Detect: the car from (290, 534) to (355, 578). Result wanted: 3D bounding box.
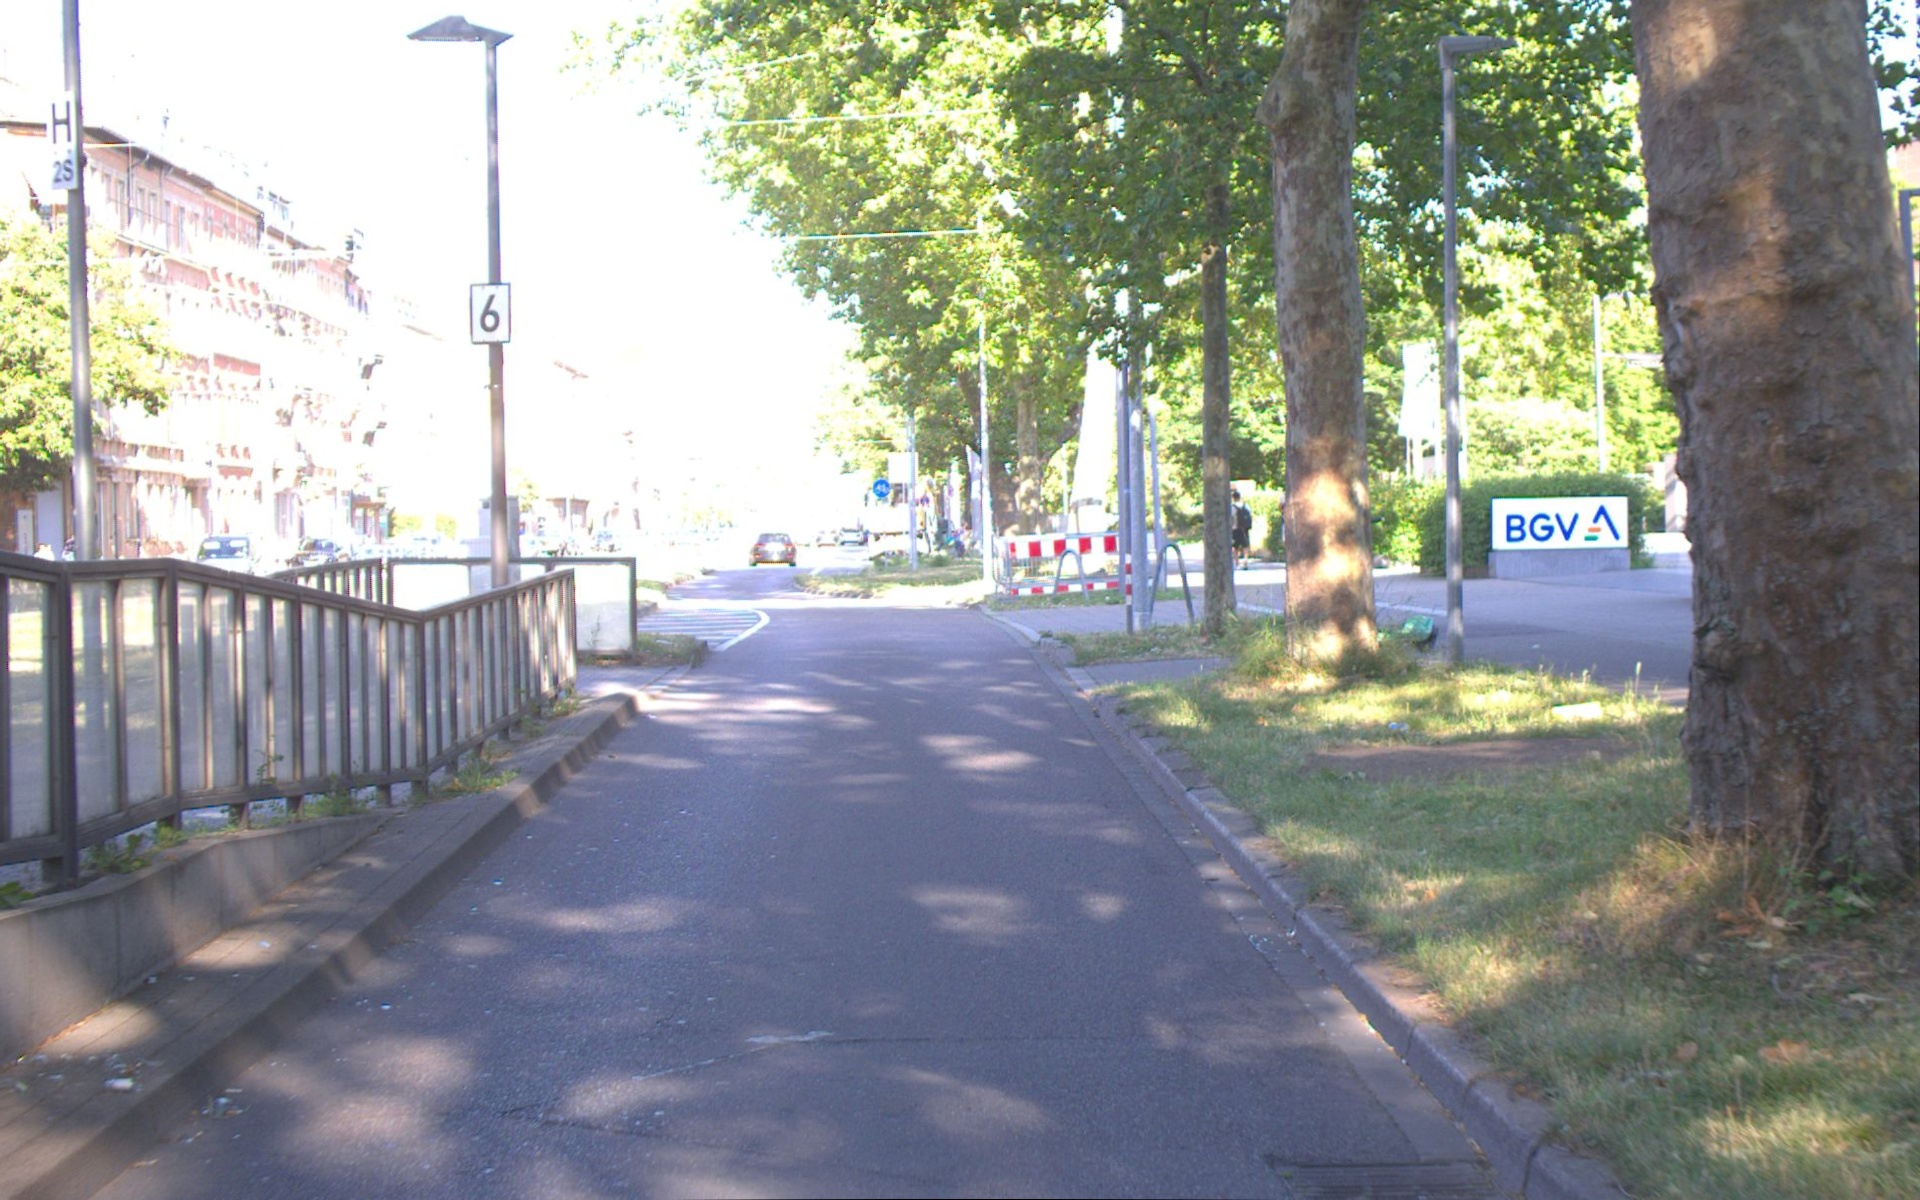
[{"bbox_3d":[-26.882,-1.871,145.126,2.015,1.748,4.559,1,2,-2],"label":"car"}]

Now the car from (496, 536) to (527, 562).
[{"bbox_3d":[-27.677,-3.158,212.133,1.526,1.555,3.224,1,2,-2],"label":"car"}]

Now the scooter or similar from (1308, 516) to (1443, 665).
[{"bbox_3d":[3.610,-0.087,29.943,1.052,1.240,0.841,-2,1,2],"label":"scooter or similar"}]

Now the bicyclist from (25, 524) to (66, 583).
[{"bbox_3d":[-23.351,-1.188,87.803,0.774,1.476,1.134,1,1,-1],"label":"bicyclist"}]

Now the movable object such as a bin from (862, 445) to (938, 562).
[{"bbox_3d":[-2.835,-4.445,159.511,3.087,5.071,8.893,-4,1,-2],"label":"movable object such as a bin"}]

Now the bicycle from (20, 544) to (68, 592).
[{"bbox_3d":[-23.364,-0.827,87.711,0.774,1.189,1.756,1,1,-1],"label":"bicycle"}]

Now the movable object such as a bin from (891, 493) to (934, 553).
[{"bbox_3d":[-2.517,-4.056,181.693,1.968,3.002,4.797,-4,1,-2],"label":"movable object such as a bin"}]

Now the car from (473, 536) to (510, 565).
[{"bbox_3d":[-27.243,-2.899,200.060,1.741,1.555,3.768,1,2,-2],"label":"car"}]

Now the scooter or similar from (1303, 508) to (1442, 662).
[{"bbox_3d":[3.477,-0.134,29.048,1.052,1.240,0.841,-2,1,2],"label":"scooter or similar"}]

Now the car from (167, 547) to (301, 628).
[{"bbox_3d":[-20.730,-0.333,98.375,1.940,1.912,4.470,9,0,10],"label":"car"}]

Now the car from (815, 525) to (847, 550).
[{"bbox_3d":[-9.718,-4.691,258.578,1.993,1.853,4.001,1,1,-8],"label":"car"}]

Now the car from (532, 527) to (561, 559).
[{"bbox_3d":[-28.876,-4.009,240.298,1.658,2.132,3.526,1,2,-2],"label":"car"}]

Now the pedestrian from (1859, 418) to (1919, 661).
[{"bbox_3d":[6.698,-0.430,23.914,0.627,1.651,0.740,-2,1,-1],"label":"pedestrian"}]

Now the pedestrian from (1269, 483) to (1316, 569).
[{"bbox_3d":[7.133,-1.582,73.803,0.805,1.787,1.110,-3,1,-1],"label":"pedestrian"}]

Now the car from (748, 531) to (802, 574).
[{"bbox_3d":[-7.414,-1.923,138.218,1.993,1.678,4.000,1,1,-1],"label":"car"}]

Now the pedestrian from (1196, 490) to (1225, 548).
[{"bbox_3d":[6.788,-2.200,93.076,0.650,1.534,0.783,-2,1,-1],"label":"pedestrian"}]

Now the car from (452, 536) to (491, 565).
[{"bbox_3d":[-27.746,-2.815,195.294,1.741,1.555,3.768,1,2,-2],"label":"car"}]
